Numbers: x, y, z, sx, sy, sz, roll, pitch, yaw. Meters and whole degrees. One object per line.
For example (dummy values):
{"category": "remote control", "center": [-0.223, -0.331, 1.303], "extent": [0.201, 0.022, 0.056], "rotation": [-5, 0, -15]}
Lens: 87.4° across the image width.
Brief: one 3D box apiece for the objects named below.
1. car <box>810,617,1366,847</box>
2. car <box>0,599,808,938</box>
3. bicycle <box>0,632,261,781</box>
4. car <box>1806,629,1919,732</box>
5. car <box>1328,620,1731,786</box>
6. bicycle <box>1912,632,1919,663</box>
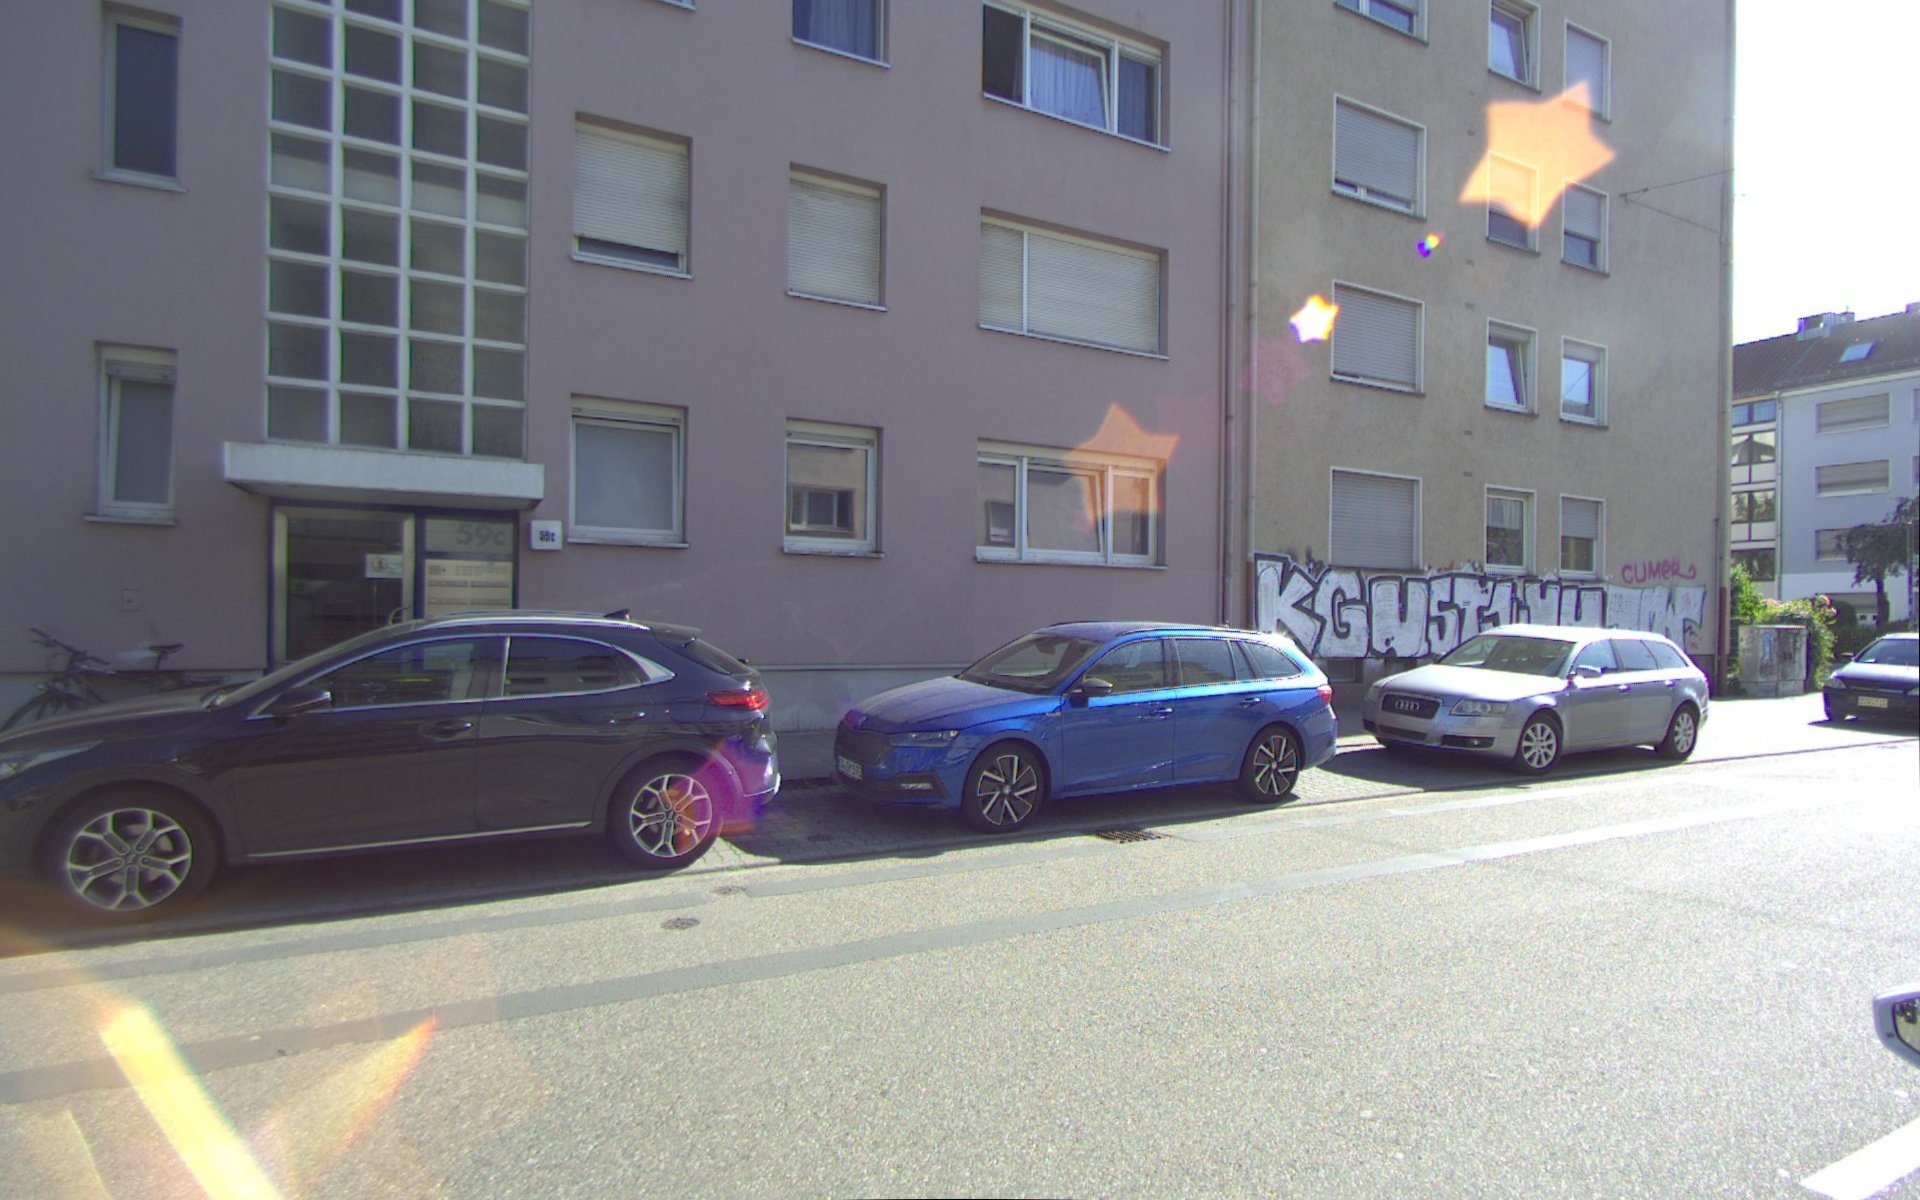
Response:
{"category": "car", "center": [1.179, 0.931, 8.528], "extent": [4.555, 1.485, 1.710], "rotation": [1, 0, -29]}
{"category": "car", "center": [-3.249, 0.817, 6.283], "extent": [4.190, 1.528, 1.811], "rotation": [1, 1, -27]}
{"category": "bicycle", "center": [-6.640, 0.824, 8.079], "extent": [1.629, 1.091, 0.389], "rotation": [1, 3, -28]}
{"category": "car", "center": [15.531, 1.239, 16.232], "extent": [3.664, 1.444, 1.609], "rotation": [1, 1, -29]}
{"category": "car", "center": [6.561, 1.031, 11.446], "extent": [4.755, 1.485, 1.710], "rotation": [1, 2, -29]}
{"category": "bicycle", "center": [38.048, 1.858, 38.576], "extent": [2.069, 1.188, 0.737], "rotation": [0, -1, 40]}
